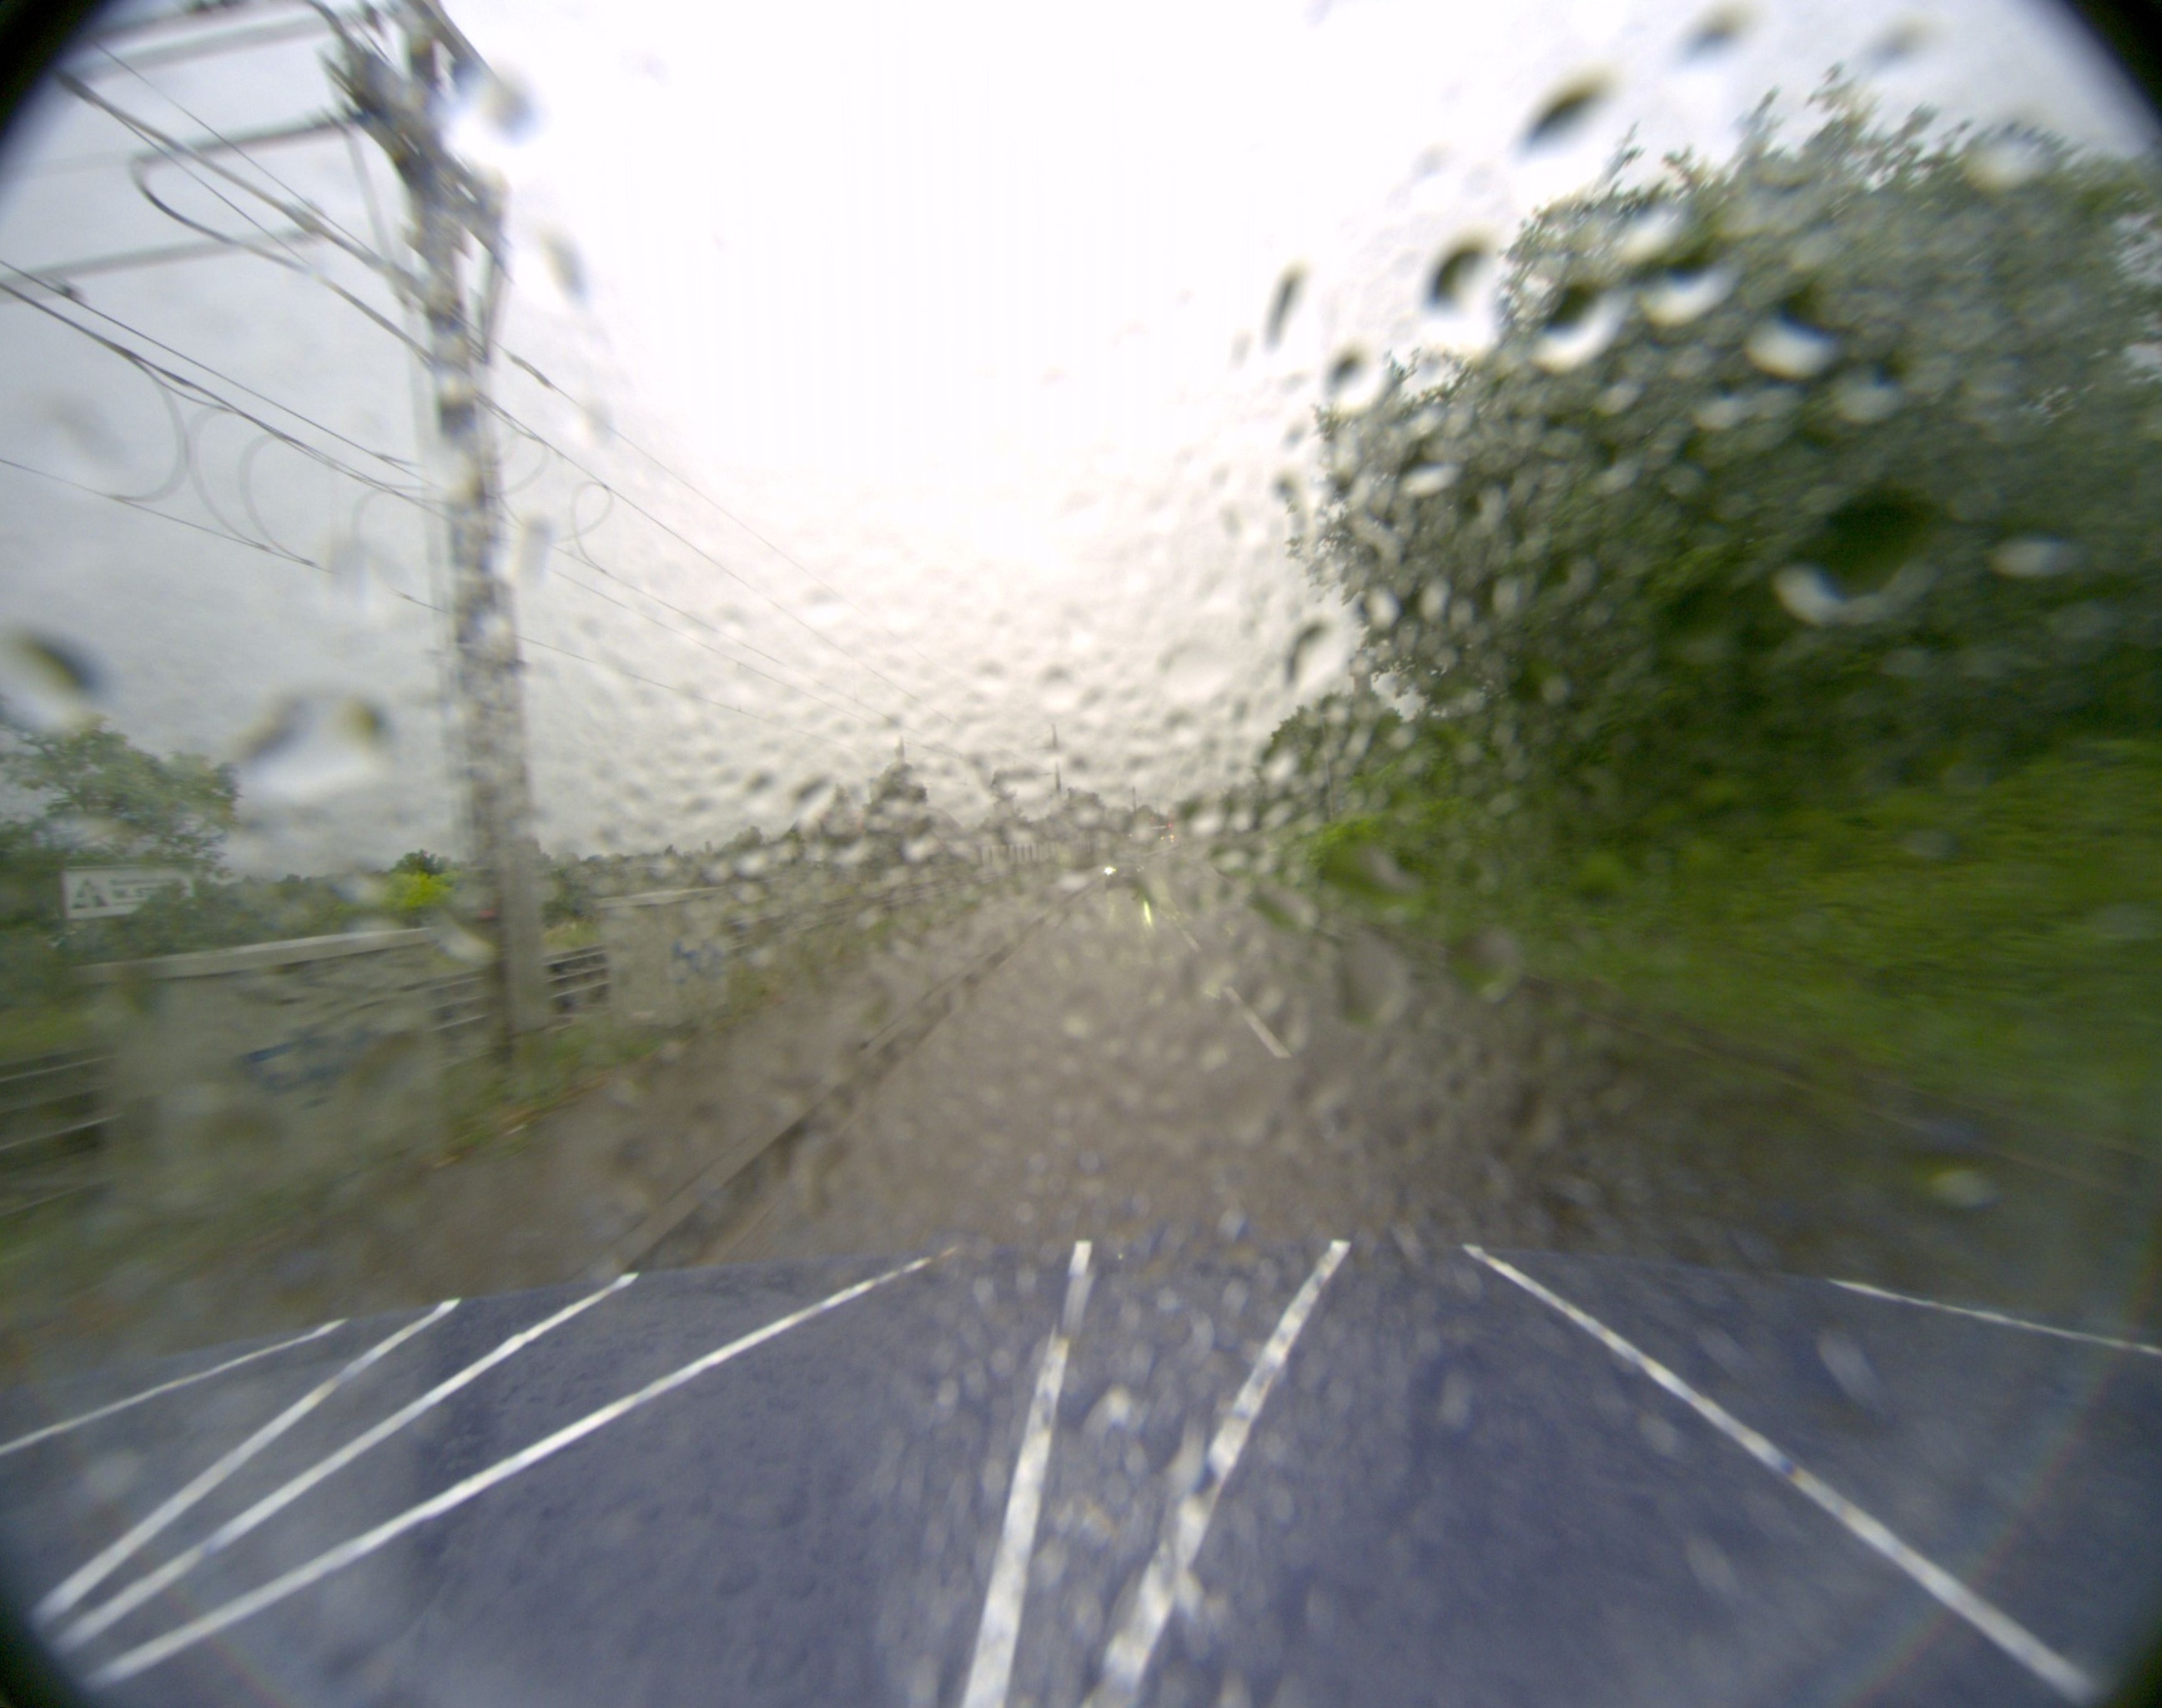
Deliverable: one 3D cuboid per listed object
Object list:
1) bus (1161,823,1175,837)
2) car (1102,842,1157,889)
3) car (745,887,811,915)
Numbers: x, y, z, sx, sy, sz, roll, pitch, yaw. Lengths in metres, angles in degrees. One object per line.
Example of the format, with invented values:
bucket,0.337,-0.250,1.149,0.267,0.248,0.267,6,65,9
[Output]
bus,20.558,-5.717,180.593,2.676,3.060,9.993,-5,2,4
car,2.140,0.430,32.661,1.997,1.623,4.000,-5,2,7
car,-22.574,3.523,56.623,4.188,1.629,1.879,-4,3,17
